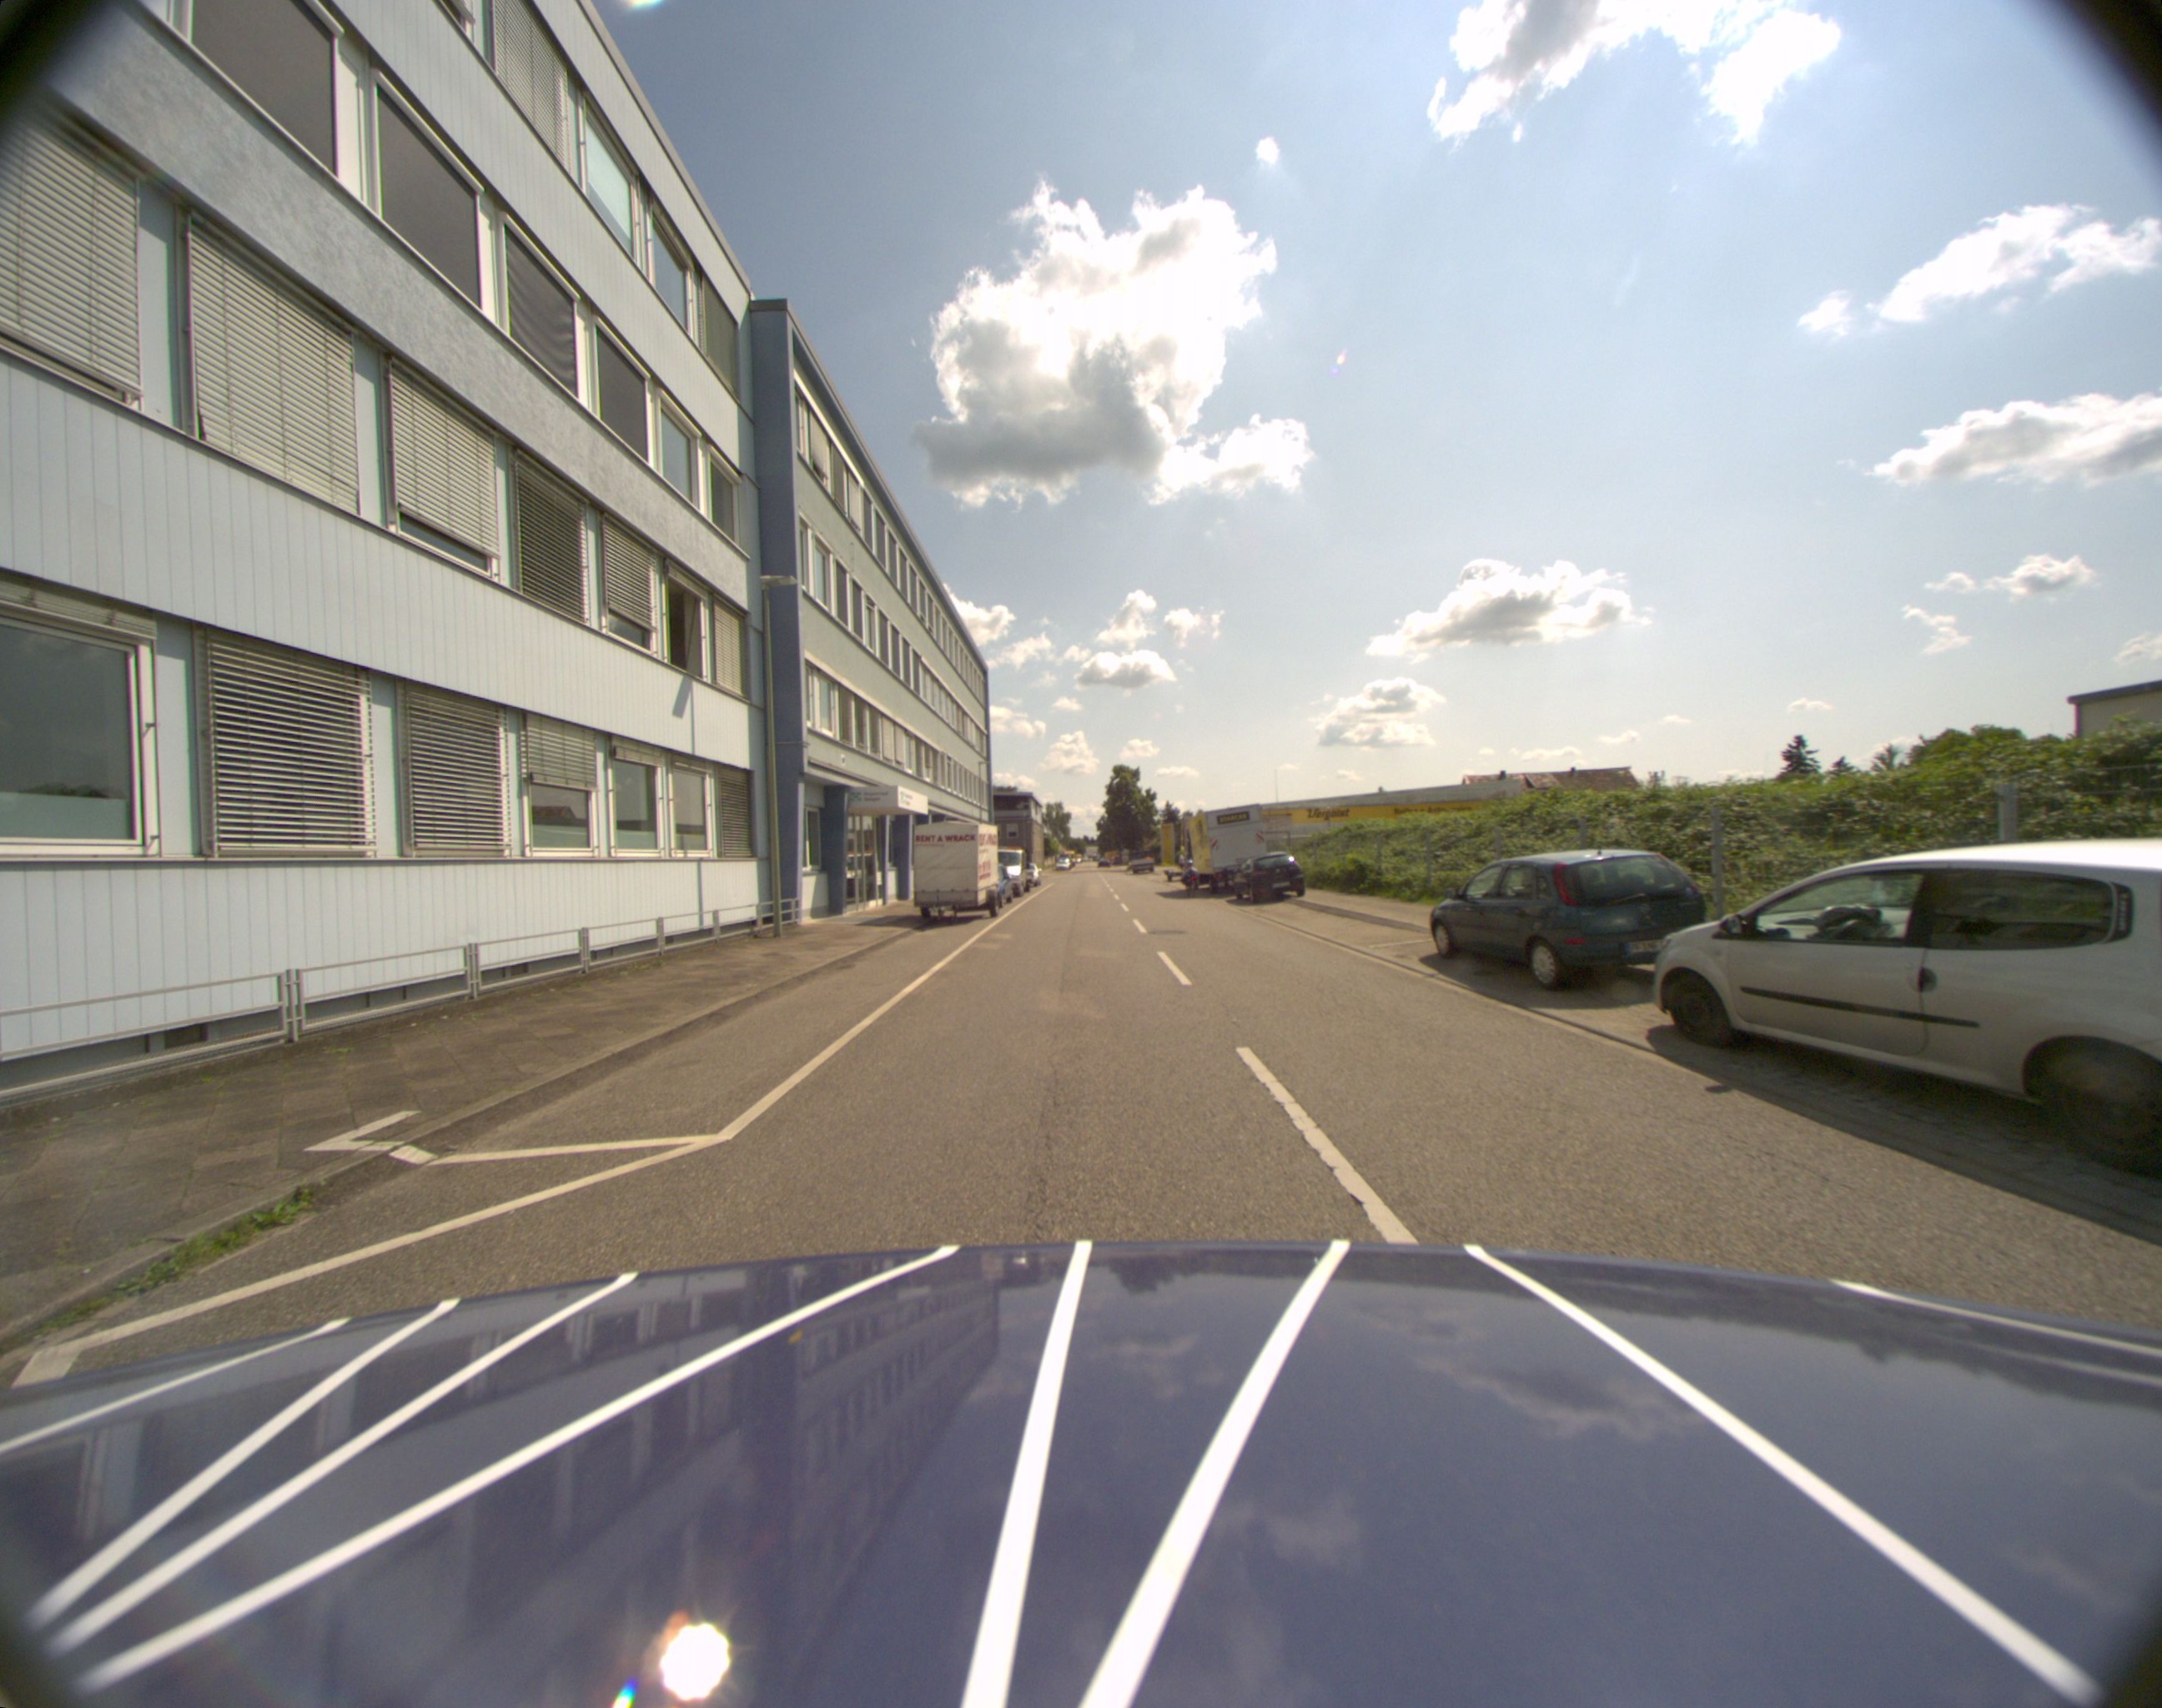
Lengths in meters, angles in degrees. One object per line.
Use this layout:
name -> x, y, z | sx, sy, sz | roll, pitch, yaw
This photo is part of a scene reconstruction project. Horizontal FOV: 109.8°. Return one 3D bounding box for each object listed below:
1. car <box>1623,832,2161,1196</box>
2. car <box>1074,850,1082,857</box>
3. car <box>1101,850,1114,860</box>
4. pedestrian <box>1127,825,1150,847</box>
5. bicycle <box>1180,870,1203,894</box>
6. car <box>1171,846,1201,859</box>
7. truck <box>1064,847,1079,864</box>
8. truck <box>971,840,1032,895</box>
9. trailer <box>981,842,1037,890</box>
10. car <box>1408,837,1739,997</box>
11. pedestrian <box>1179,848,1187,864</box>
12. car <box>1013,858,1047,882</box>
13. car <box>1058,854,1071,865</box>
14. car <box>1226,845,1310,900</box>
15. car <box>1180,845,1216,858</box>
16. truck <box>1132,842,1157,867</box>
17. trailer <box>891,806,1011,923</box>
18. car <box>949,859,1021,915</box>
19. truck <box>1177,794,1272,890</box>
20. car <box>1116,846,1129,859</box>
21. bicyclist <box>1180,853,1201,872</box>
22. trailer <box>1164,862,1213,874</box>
car -> 5.432, 0.672, 4.565 | 1.619, 1.475, 3.709 | -4, 0, 0
car -> -0.895, -0.026, 225.501 | 1.998, 2.002, 4.000 | -2, 0, 2
car -> 4.041, 0.106, 115.718 | 1.789, 1.430, 4.308 | 1, 0, -1
pedestrian -> 5.707, -1.774, 75.675 | 1.998, 2.002, 4.000 | -3, 1, 2
bicycle -> 3.974, 0.998, 27.422 | 0.589, 0.737, 2.125 | -2, 0, 3
car -> 14.776, -0.230, 106.906 | 4.093, 1.703, 1.680 | -2, 0, 9
truck -> -1.718, 0.259, 137.554 | 2.402, 2.787, 6.375 | -2, 0, 2
truck -> -3.223, 0.503, 31.586 | 1.969, 2.023, 4.733 | -2, 1, 0
trailer -> -3.257, 0.495, 35.442 | 1.978, 1.959, 5.765 | -2, 0, 0
car -> 5.649, 0.611, 9.354 | 1.572, 1.391, 3.799 | -7, 0, 2
pedestrian -> 9.590, 0.194, 71.374 | 0.661, 1.536, 0.918 | -2, 1, 2
car -> -2.846, 0.889, 43.362 | 1.651, 1.239, 4.000 | -2, 0, 0
car -> -2.203, 0.765, 102.433 | 1.657, 1.324, 3.999 | -2, 0, 0
car -> 5.924, 0.528, 24.500 | 1.623, 1.421, 3.826 | -8, 0, 1
car -> 14.450, -0.335, 93.754 | 3.847, 1.406, 1.856 | -4, 1, -22
truck -> 6.328, 0.044, 76.446 | 2.133, 2.226, 7.350 | -5, 0, 3
trailer -> -3.127, 0.212, 19.491 | 1.873, 2.538, 5.072 | -2, 1, 3
car -> -3.140, 1.033, 25.663 | 1.722, 1.533, 4.402 | -3, 1, 1
truck -> 5.790, -0.448, 31.788 | 2.256, 3.342, 6.906 | -7, 0, -1
car -> 7.768, -0.251, 142.055 | 1.997, 2.290, 4.003 | -2, 0, 10
bicyclist -> 3.925, 0.311, 27.404 | 0.567, 0.628, 1.857 | -3, 0, 3
trailer -> 6.354, 0.840, 45.579 | 2.241, 0.549, 4.444 | -2, 0, -1
